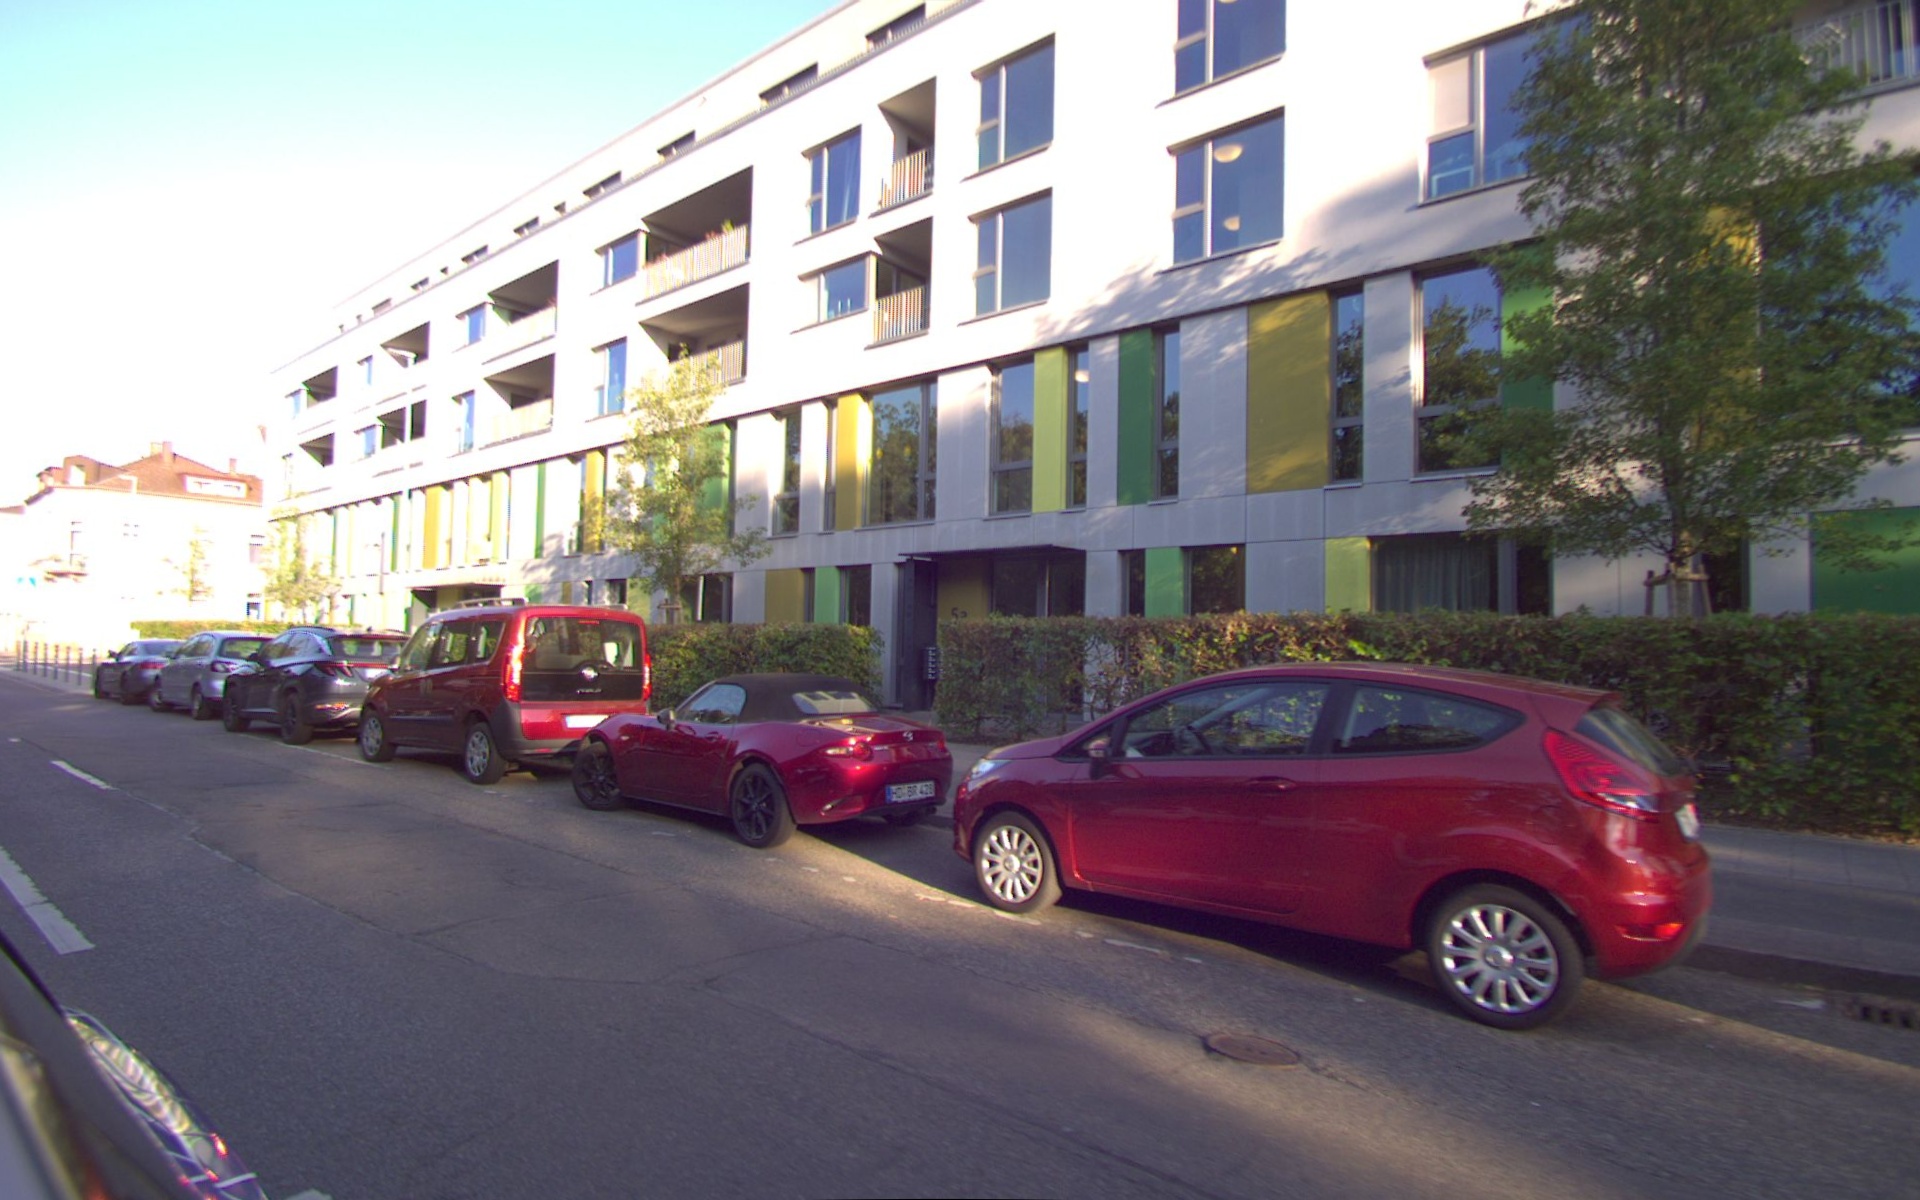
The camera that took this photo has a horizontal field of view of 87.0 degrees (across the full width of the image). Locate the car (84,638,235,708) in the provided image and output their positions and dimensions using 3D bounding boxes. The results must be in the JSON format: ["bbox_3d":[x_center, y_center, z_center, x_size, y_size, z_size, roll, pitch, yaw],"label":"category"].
[{"bbox_3d":[-17.553,1.549,22.124,4.393,1.367,1.724,-2,-5,41],"label":"car"}]

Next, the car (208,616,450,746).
[{"bbox_3d":[-9.577,1.180,15.228,4.412,1.689,1.724,-2,-6,40],"label":"car"}]

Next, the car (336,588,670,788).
[{"bbox_3d":[-5.403,0.966,11.746,4.234,1.904,1.789,-2,-6,40],"label":"car"}]

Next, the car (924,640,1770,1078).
[{"bbox_3d":[1.771,0.979,5.352,3.859,1.466,1.582,-2,-4,41],"label":"car"}]

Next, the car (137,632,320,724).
[{"bbox_3d":[-13.799,1.413,19.027,4.111,1.545,1.725,-2,-4,39],"label":"car"}]

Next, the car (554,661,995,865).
[{"bbox_3d":[-1.658,1.185,8.382,3.729,1.290,1.540,-2,-6,40],"label":"car"}]
